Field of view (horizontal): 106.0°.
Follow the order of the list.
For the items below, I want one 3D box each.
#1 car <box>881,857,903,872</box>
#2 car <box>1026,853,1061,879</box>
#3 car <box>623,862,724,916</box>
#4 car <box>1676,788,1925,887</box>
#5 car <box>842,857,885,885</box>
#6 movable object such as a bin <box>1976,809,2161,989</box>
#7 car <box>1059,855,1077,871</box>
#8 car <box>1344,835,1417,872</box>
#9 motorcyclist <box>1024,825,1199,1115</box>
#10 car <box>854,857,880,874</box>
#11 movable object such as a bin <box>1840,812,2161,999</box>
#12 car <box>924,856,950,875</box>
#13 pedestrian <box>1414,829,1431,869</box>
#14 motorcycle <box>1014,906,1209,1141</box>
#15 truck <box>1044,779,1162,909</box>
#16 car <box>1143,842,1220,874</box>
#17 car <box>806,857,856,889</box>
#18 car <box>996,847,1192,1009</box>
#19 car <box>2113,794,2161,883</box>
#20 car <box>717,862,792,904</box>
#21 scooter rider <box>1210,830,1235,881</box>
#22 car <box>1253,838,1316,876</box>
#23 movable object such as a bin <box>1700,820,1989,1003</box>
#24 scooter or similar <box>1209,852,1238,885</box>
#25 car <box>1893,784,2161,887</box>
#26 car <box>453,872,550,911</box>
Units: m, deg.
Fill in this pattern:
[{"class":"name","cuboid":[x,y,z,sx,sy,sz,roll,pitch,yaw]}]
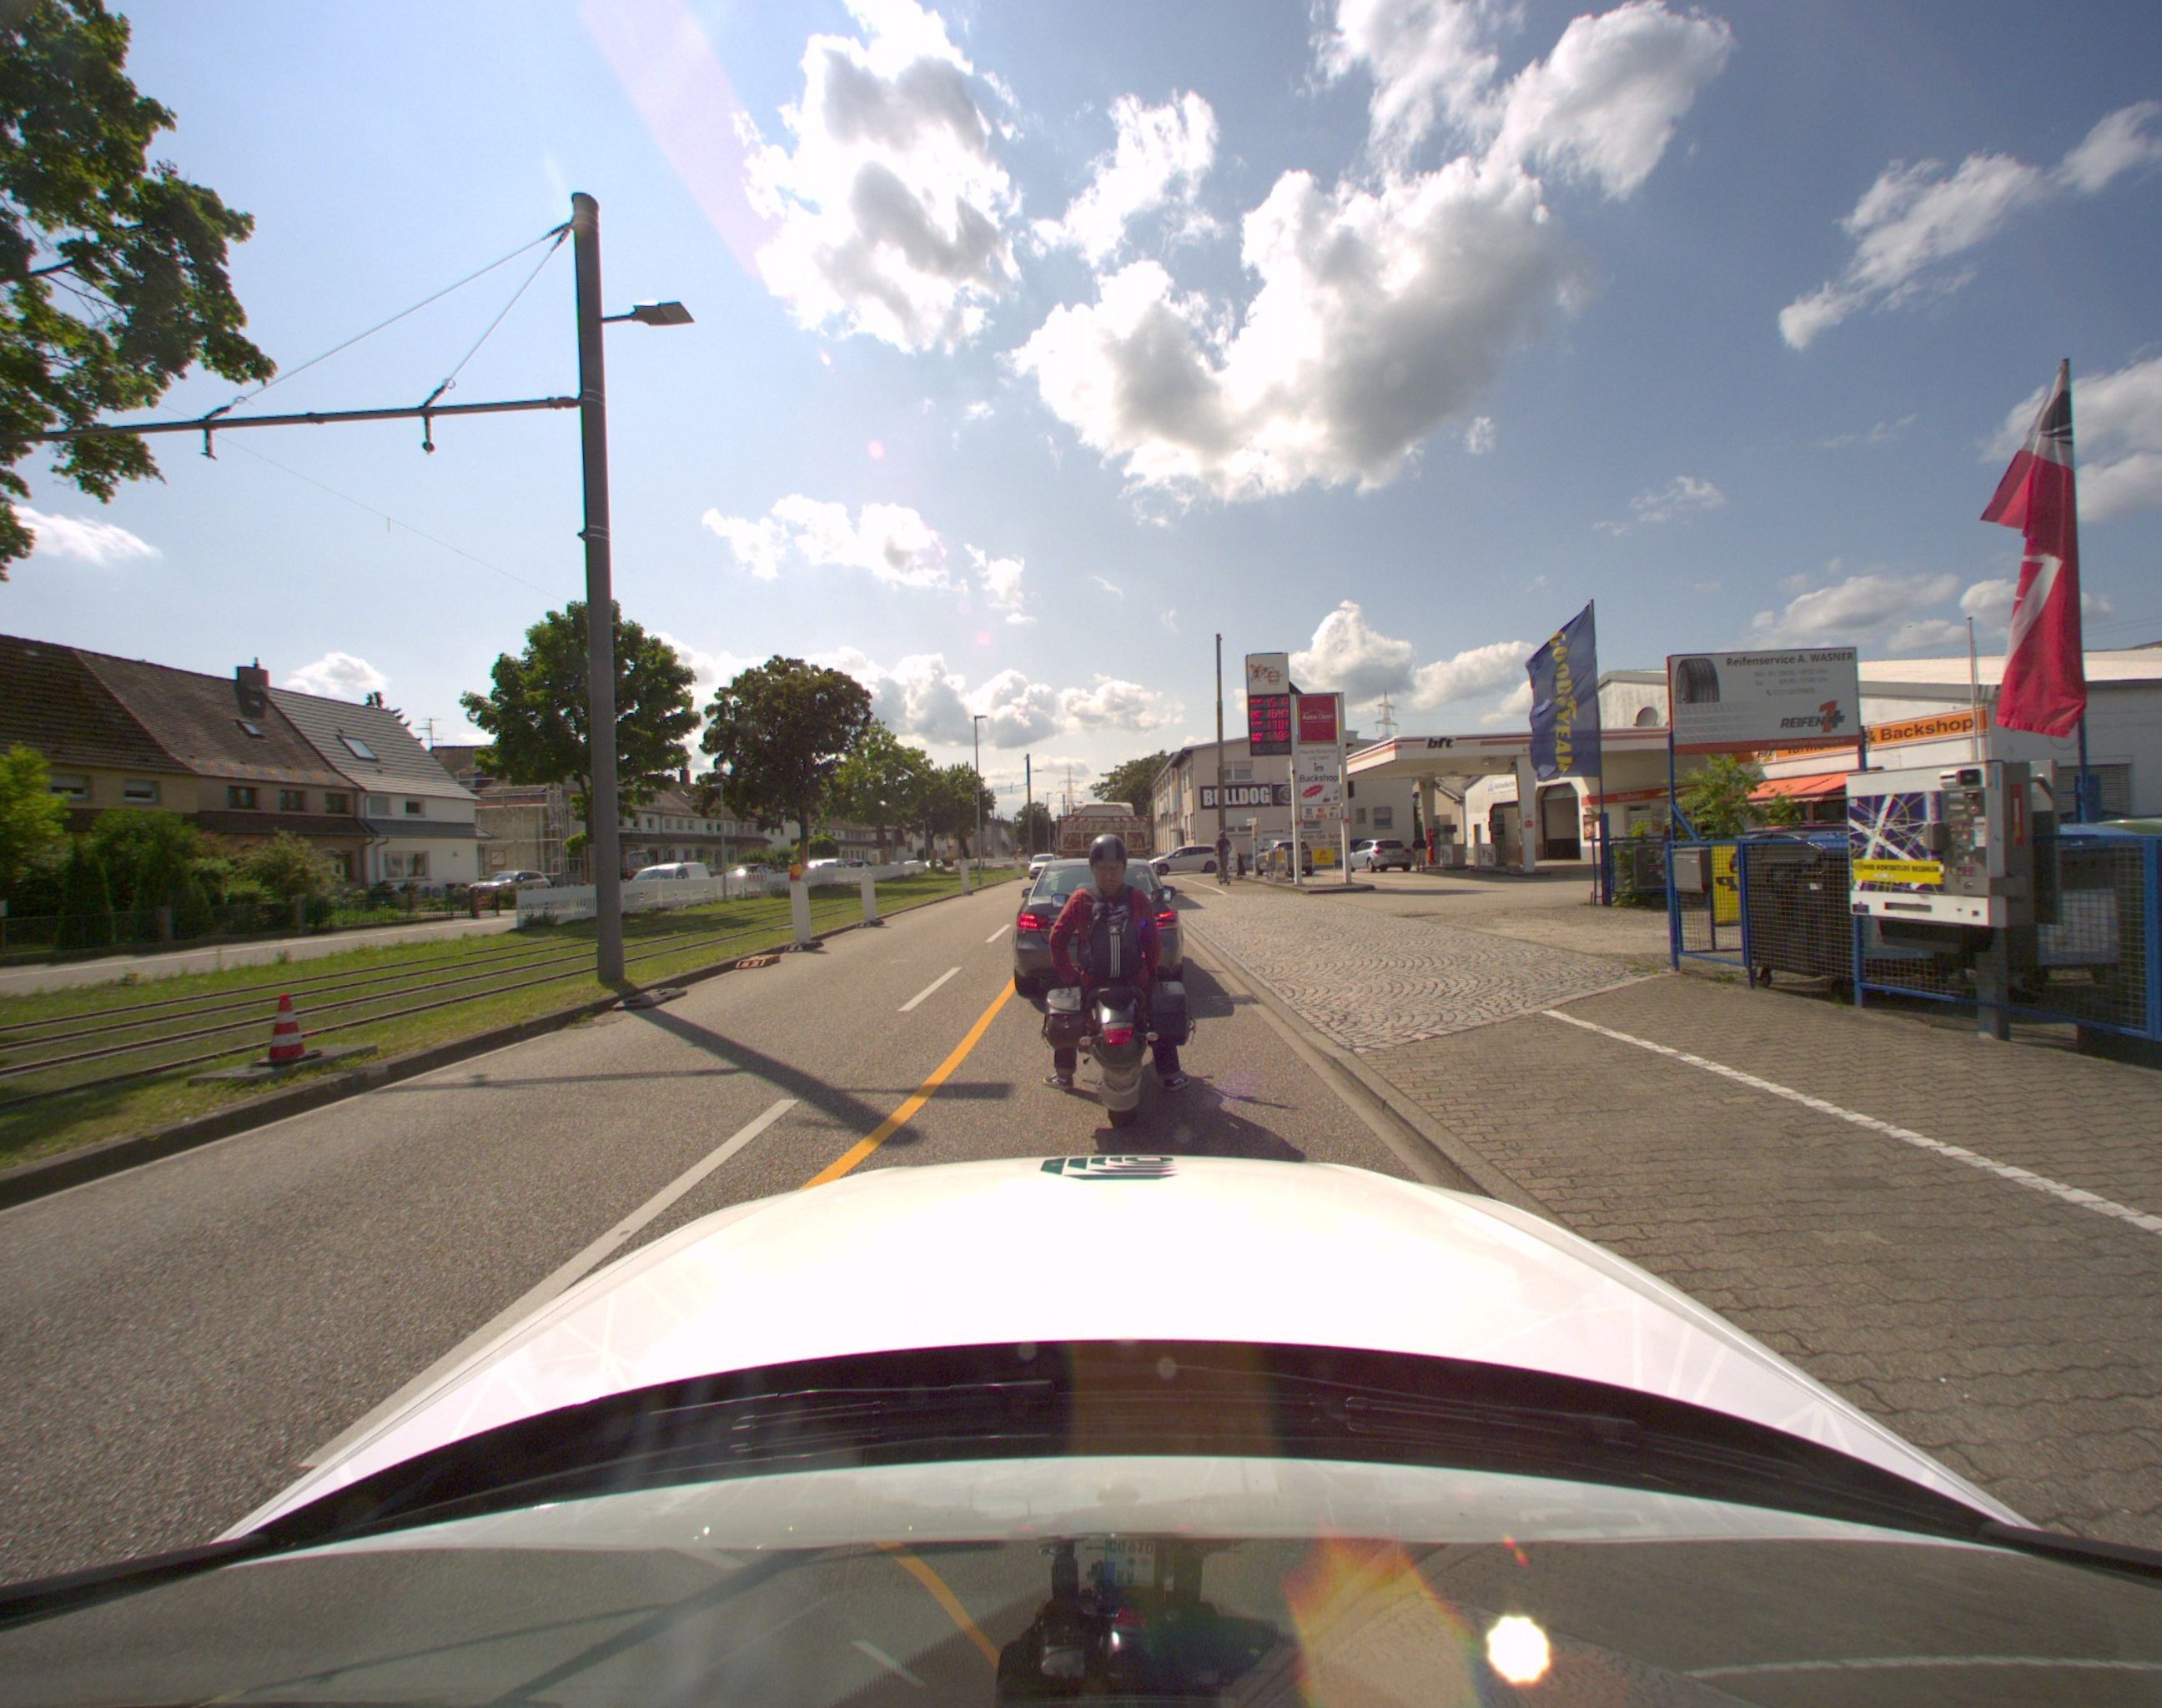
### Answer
[{"class":"car","cuboid":[-24.380,1.342,105.375,1.692,1.739,4.064,-2,0,2]},{"class":"car","cuboid":[-2.206,0.698,49.159,1.709,1.413,4.264,-2,0,2]},{"class":"car","cuboid":[-15.421,1.278,31.066,1.692,1.817,3.862,-2,0,2]},{"class":"car","cuboid":[16.598,-0.372,18.971,3.972,2.013,2.001,-2,0,1]},{"class":"car","cuboid":[-14.871,1.139,55.768,1.692,1.739,3.862,-2,0,2]},{"class":"movable object such as a bin","cuboid":[9.445,0.335,7.200,1.425,1.454,1.455,-2,0,0]},{"class":"car","cuboid":[-1.407,0.948,88.662,1.674,1.624,4.120,-2,0,1]},{"class":"car","cuboid":[13.535,-0.024,37.078,1.826,1.479,4.009,-3,0,1]},{"class":"motorcyclist","cuboid":[0.190,0.654,5.205,0.966,1.633,1.215,-1,0,1]},{"class":"car","cuboid":[-24.462,1.300,93.271,1.692,1.739,4.064,-2,0,2]},{"class":"movable object such as a bin","cuboid":[8.100,0.415,7.289,1.222,1.454,1.455,-2,0,0]},{"class":"car","cuboid":[-14.189,1.150,80.367,1.692,1.739,3.862,-2,0,2]},{"class":"pedestrian","cuboid":[14.838,-0.211,35.398,0.628,1.683,0.626,-2,0,23]},{"class":"motorcycle","cuboid":[0.191,0.932,5.323,0.972,1.013,2.433,-1,0,2]},{"class":"truck","cuboid":[0.638,-0.282,25.614,2.960,3.304,8.407,-2,0,1]},{"class":"car","cuboid":[5.762,0.226,47.058,4.101,1.624,1.682,-3,0,-7]},{"class":"car","cuboid":[-15.105,1.112,49.402,1.692,1.739,3.862,-2,0,2]},{"class":"car","cuboid":[0.158,0.706,9.870,1.826,1.479,4.009,-3,0,1]},{"class":"car","cuboid":[26.348,-0.435,18.194,3.972,2.013,2.001,-2,0,1]},{"class":"car","cuboid":[-15.329,1.324,38.497,1.692,1.739,4.056,-2,0,2]},{"class":"scooter rider","cuboid":[5.177,0.040,29.805,0.792,1.818,0.508,-2,0,1]},{"class":"car","cuboid":[9.065,0.121,36.586,1.826,1.536,4.009,-3,0,1]},{"class":"movable object such as a bin","cuboid":[6.821,0.470,7.414,1.222,1.454,1.455,-2,0,0]},{"class":"scooter or similar","cuboid":[5.194,0.509,29.702,0.792,1.144,1.520,-2,0,2]},{"class":"car","cuboid":[21.245,-0.402,18.279,3.972,2.013,2.001,-2,0,1]},{"class":"car","cuboid":[-27.482,1.731,38.803,1.692,1.593,3.862,-2,0,2]}]
